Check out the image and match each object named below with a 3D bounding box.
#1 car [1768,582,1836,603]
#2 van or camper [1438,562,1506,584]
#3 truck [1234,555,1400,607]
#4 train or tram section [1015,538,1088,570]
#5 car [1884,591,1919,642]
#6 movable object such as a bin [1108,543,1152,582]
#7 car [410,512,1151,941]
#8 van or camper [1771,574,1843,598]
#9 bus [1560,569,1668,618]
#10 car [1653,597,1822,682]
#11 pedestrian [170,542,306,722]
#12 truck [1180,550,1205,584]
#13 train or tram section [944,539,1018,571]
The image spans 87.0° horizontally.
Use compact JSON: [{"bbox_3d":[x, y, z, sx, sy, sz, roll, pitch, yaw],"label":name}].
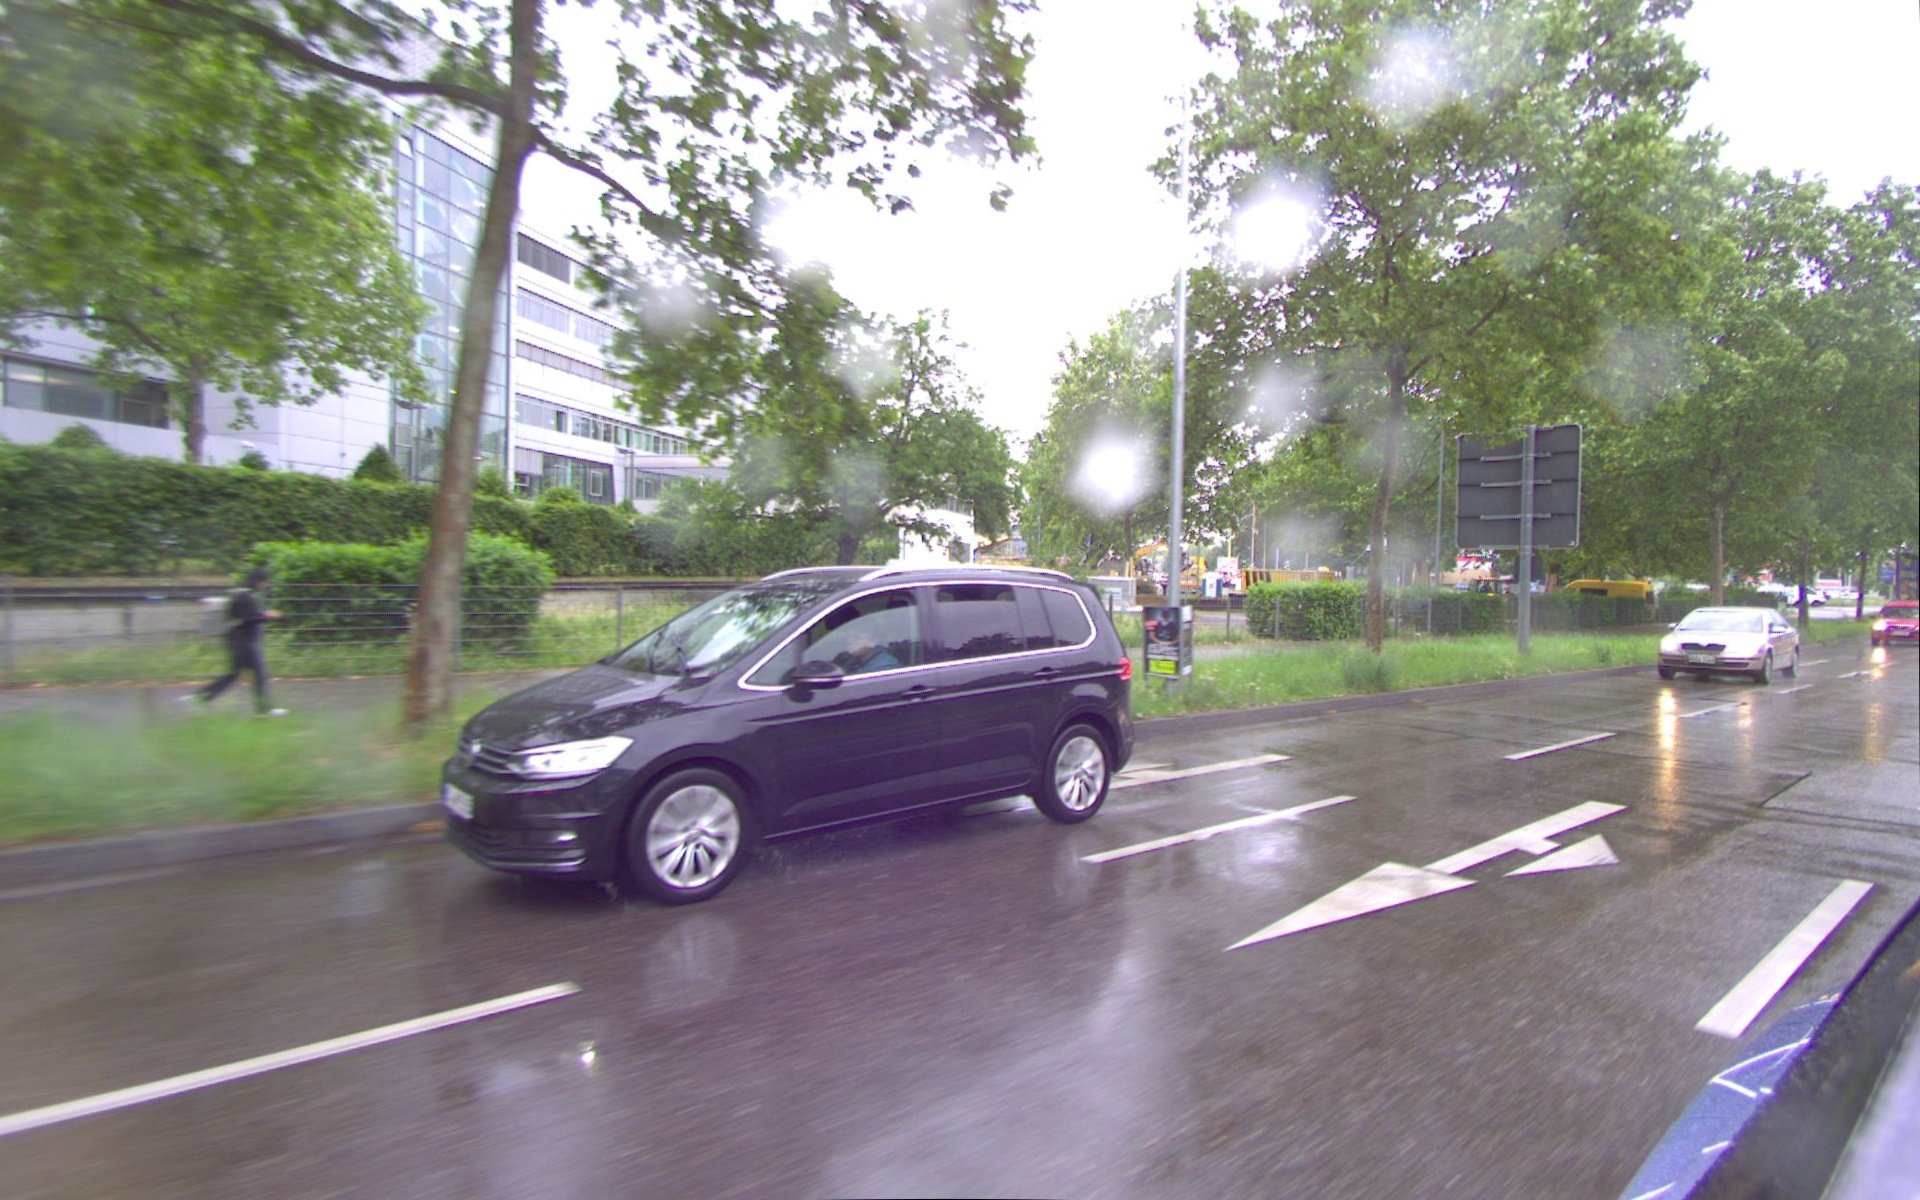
[{"bbox_3d":[77.928,-0.703,93.675,4.392,1.693,1.862,2,2,12],"label":"car"},{"bbox_3d":[78.656,-4.174,155.538,8.848,3.196,2.975,0,2,15],"label":"van or camper"},{"bbox_3d":[21.875,-1.164,62.567,9.361,3.069,3.069,0,2,14],"label":"truck"},{"bbox_3d":[10.665,-5.303,117.690,8.240,3.563,2.393,0,1,12],"label":"train or tram section"},{"bbox_3d":[35.891,0.594,37.596,4.477,1.791,1.699,0,2,-40],"label":"car"},{"bbox_3d":[16.447,-3.597,98.264,3.253,3.670,3.618,1,2,-6],"label":"movable object such as a bin"},{"bbox_3d":[-0.851,0.502,6.194,4.118,1.748,1.859,0,1,-42],"label":"car"},{"bbox_3d":[80.567,-1.321,96.363,4.831,2.113,1.862,2,2,12],"label":"van or camper"},{"bbox_3d":[37.344,-0.412,57.866,1.964,2.680,4.804,0,1,-39],"label":"bus"},{"bbox_3d":[15.610,0.702,20.239,4.309,1.448,1.806,-1,2,-40],"label":"car"},{"bbox_3d":[-7.607,0.310,10.677,0.664,1.784,1.059,1,1,44],"label":"pedestrian"},{"bbox_3d":[24.236,-3.406,105.183,2.460,3.386,9.433,0,2,14],"label":"truck"},{"bbox_3d":[2.508,-5.291,119.437,8.397,3.563,2.393,0,1,12],"label":"train or tram section"}]
